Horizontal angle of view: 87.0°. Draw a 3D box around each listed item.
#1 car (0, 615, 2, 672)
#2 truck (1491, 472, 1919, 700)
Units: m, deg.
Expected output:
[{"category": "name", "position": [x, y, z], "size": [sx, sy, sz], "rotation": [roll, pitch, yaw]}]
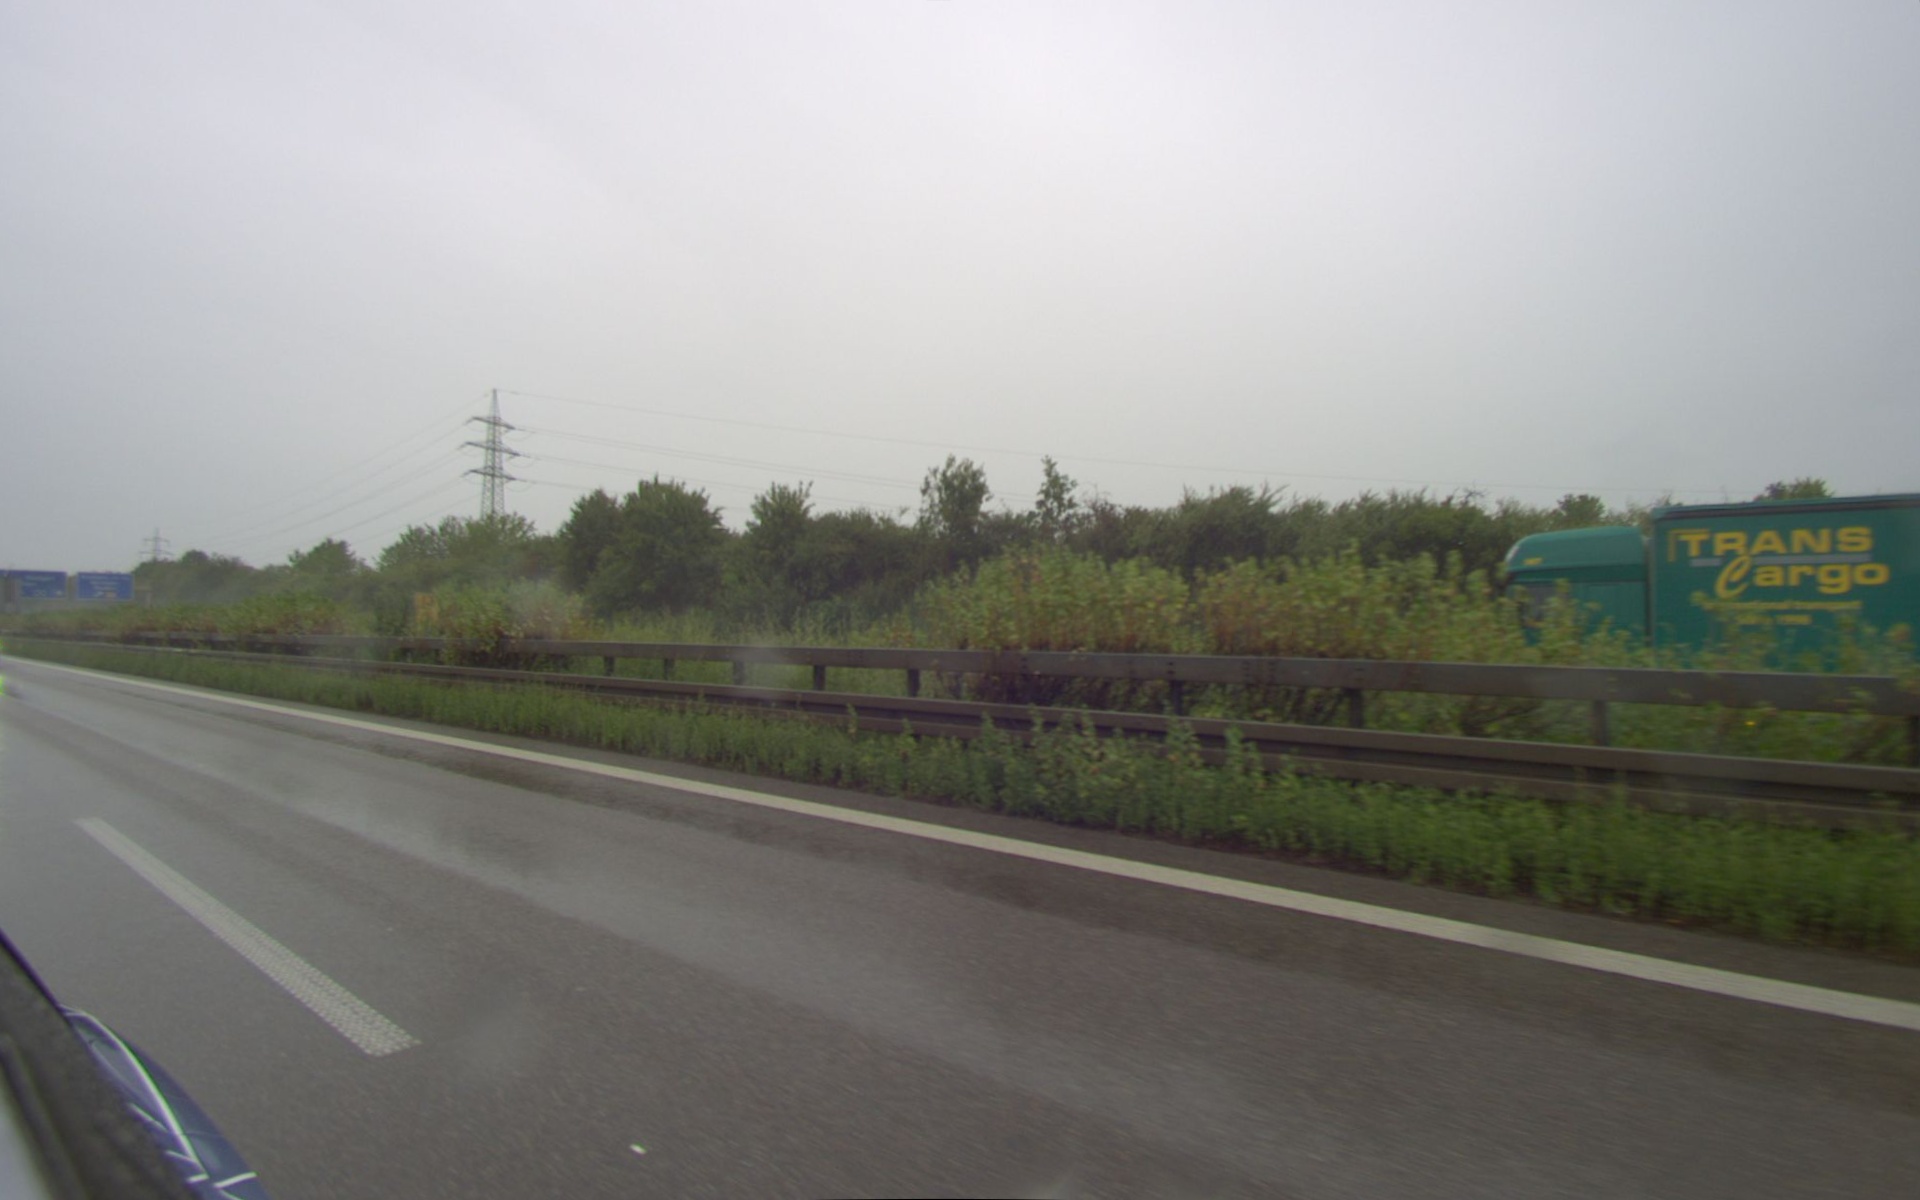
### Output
[{"category": "car", "position": [-32.522, 1.397, 32.629], "size": [4.499, 1.787, 2.020], "rotation": [-1, -1, 42]}, {"category": "truck", "position": [13.652, -0.198, 14.373], "size": [10.611, 3.059, 2.216], "rotation": [-1, 0, 41]}]
